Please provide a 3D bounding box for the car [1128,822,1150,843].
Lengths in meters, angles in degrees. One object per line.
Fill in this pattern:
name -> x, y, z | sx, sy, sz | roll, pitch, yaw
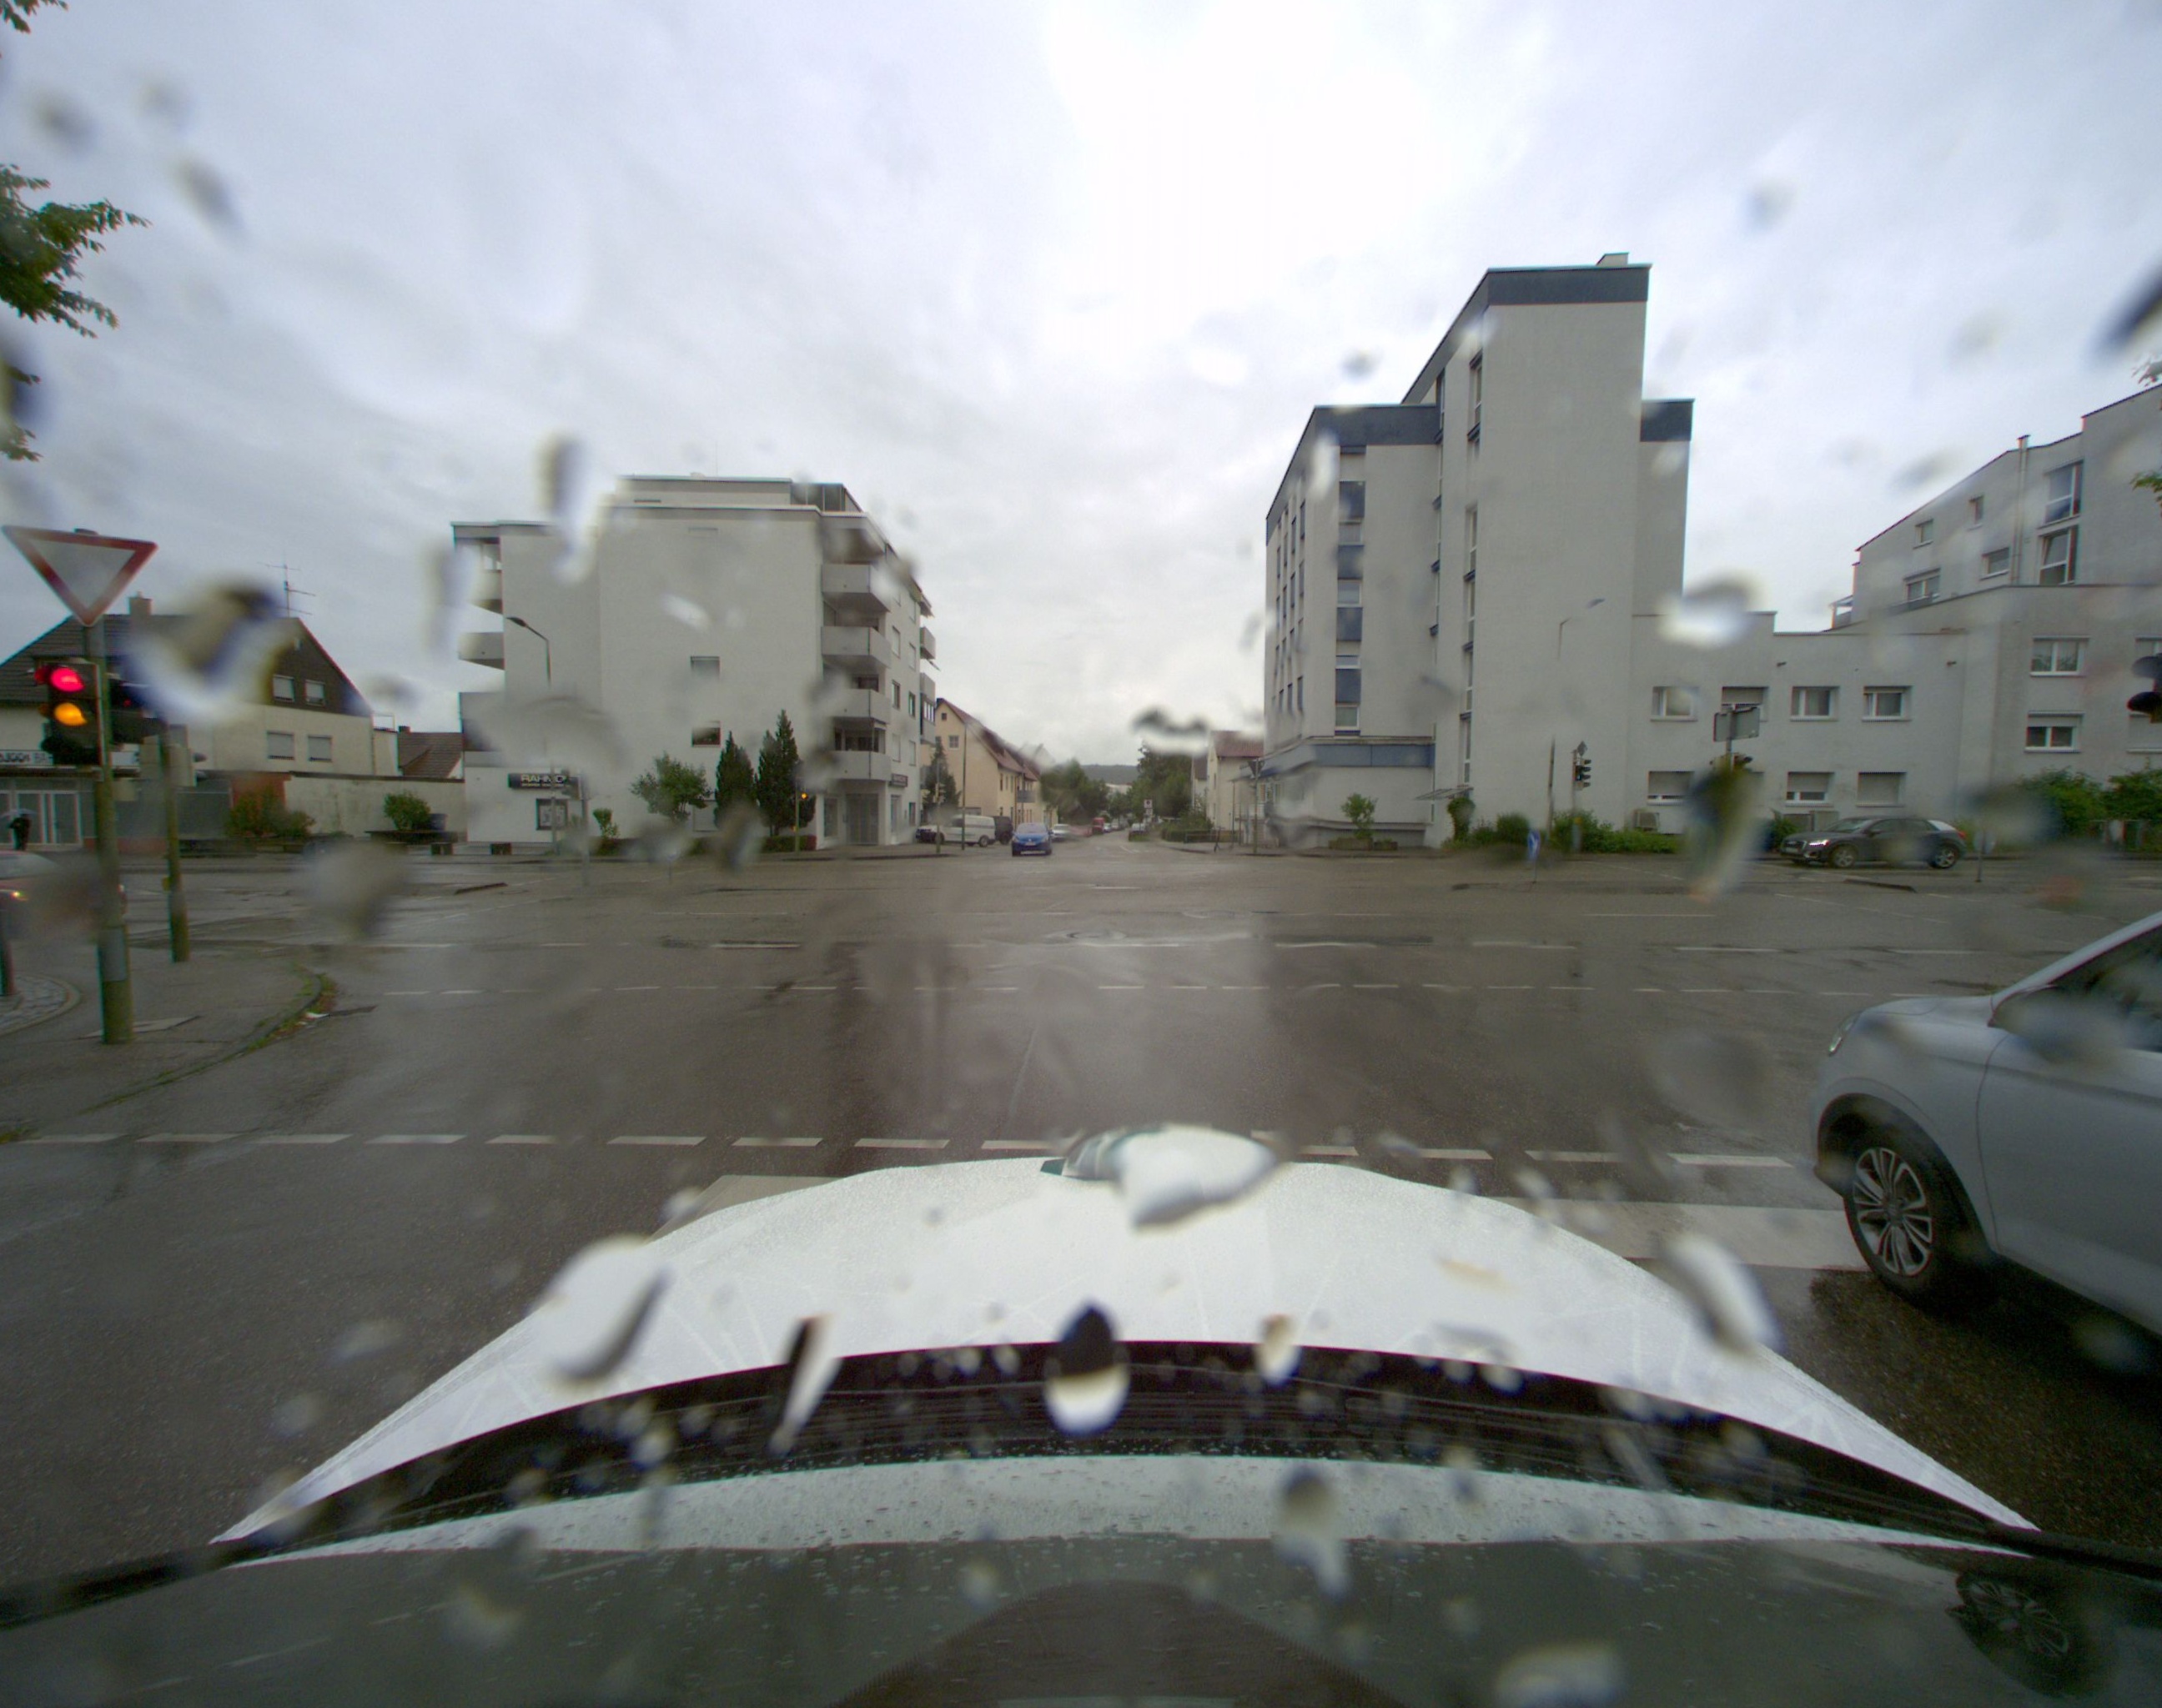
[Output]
car -> 5.814, -2.125, 81.611 | 1.983, 2.014, 4.008 | 0, -1, 7

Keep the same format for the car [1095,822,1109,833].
car -> 3.673, -4.543, 138.849 | 1.983, 1.684, 4.008 | 0, -1, 7

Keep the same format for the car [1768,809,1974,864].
car -> 23.252, -0.528, 24.135 | 4.110, 1.485, 1.748 | -1, 4, 10

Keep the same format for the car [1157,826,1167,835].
car -> 16.899, -4.909, 170.418 | 1.983, 2.013, 4.009 | -1, 1, 7

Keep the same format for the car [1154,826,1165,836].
car -> 15.686, -4.580, 161.878 | 1.983, 2.013, 4.009 | -1, 1, 7

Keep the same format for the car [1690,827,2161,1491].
car -> 3.393, 0.724, 1.844 | 1.678, 1.554, 3.919 | -1, 1, 10

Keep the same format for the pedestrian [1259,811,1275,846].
pedestrian -> 9.034, -1.241, 39.561 | 0.652, 1.652, 0.646 | 0, -1, 2

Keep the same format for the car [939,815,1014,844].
car -> -7.004, -1.685, 54.901 | 4.644, 1.888, 1.941 | -2, 2, -37

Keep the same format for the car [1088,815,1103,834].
car -> 2.277, -4.576, 127.490 | 2.208, 2.768, 5.728 | -1, 1, 2

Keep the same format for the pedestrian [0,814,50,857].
pedestrian -> -39.860, -0.695, 30.679 | 0.986, 1.568, 0.755 | -1, 1, 1

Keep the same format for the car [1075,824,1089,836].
car -> 0.143, -3.073, 104.355 | 1.762, 1.518, 3.999 | -1, 2, -1

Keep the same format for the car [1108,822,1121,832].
car -> 6.313, -5.168, 154.812 | 1.982, 1.706, 4.010 | -1, -1, 9

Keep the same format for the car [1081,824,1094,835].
car -> 0.875, -3.414, 112.738 | 1.762, 1.518, 3.999 | -1, 2, -1

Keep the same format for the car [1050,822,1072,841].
car -> -1.641, -1.849, 68.109 | 1.761, 1.523, 4.001 | -1, 2, 0

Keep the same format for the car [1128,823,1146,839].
car -> 7.112, -2.940, 103.644 | 1.983, 2.013, 4.009 | -1, 1, 7

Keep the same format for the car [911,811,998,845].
car -> -7.417, -1.472, 47.961 | 4.751, 1.778, 1.753 | 2, -1, -37

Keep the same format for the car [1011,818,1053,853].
car -> -2.209, -0.804, 37.493 | 1.762, 1.445, 3.998 | 0, -1, -1

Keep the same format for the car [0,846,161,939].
car -> -20.515, 0.692, 15.418 | 4.074, 1.505, 1.783 | 0, 6, 2

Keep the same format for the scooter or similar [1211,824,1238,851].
scooter or similar -> 6.811, -0.777, 38.576 | 1.058, 1.227, 0.799 | 0, -1, -8

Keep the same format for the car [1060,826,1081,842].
car -> -0.992, -1.984, 79.574 | 1.760, 1.518, 4.197 | -1, 2, 2

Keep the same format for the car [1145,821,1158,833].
car -> 11.972, -4.561, 137.854 | 1.983, 2.013, 4.009 | -1, 1, 7
